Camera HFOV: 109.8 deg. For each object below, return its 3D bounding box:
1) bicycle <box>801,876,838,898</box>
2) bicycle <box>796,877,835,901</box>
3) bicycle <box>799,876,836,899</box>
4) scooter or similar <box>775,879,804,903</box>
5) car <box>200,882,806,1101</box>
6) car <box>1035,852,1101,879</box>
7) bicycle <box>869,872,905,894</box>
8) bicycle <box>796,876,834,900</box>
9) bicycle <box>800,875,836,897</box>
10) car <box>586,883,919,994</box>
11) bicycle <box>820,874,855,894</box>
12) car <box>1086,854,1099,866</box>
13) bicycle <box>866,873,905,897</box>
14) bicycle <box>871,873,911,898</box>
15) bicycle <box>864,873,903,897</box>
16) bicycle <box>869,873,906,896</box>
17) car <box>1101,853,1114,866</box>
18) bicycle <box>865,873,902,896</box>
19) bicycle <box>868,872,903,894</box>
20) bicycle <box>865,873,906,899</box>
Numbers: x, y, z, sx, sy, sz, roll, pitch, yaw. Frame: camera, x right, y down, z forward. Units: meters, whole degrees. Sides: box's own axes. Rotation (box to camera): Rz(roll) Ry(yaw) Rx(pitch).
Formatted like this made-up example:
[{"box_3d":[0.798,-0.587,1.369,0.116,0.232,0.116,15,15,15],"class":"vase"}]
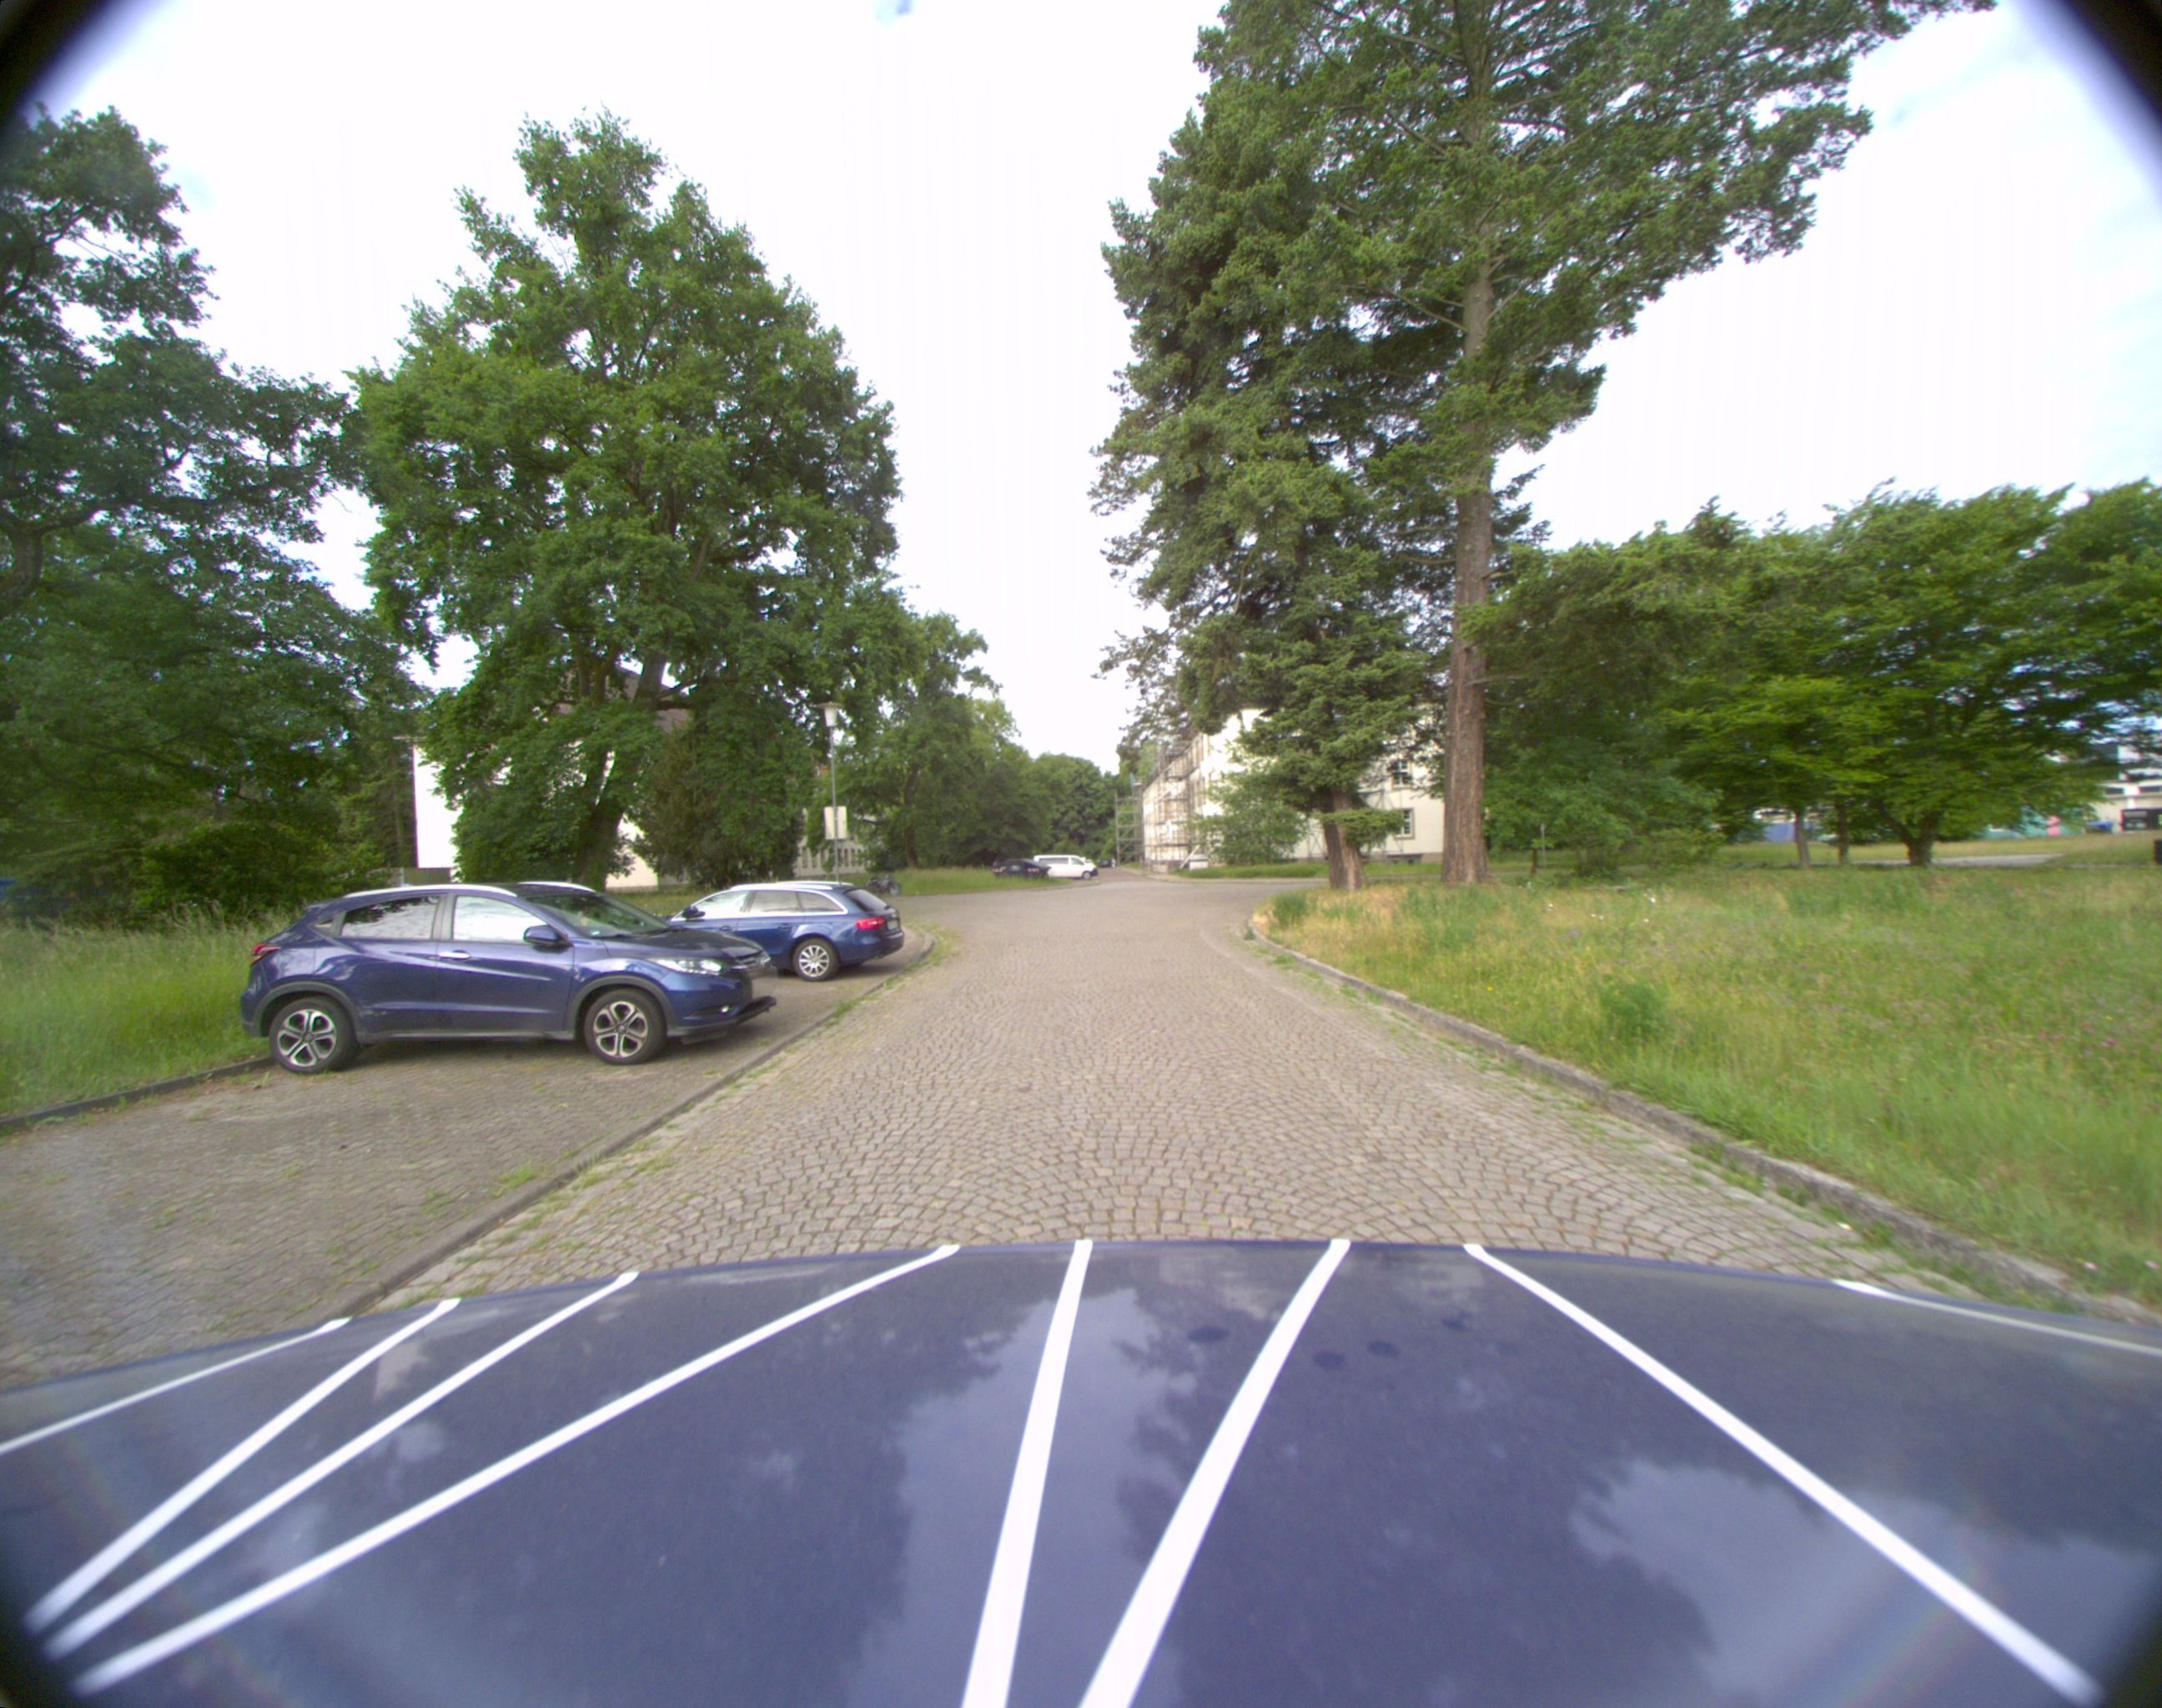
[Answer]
[{"box_3d":[-14.700,1.851,42.764,1.862,1.163,0.487,-3,0,-29],"class":"bicycle"},{"box_3d":[-14.230,1.849,40.718,1.862,1.163,0.487,-3,0,-26],"class":"bicycle"},{"box_3d":[-14.557,1.843,41.997,1.861,1.163,0.487,-3,0,-21],"class":"bicycle"},{"box_3d":[-15.320,1.924,39.938,1.308,1.163,0.413,-4,1,-1],"class":"scooter or similar"},{"box_3d":[-5.109,1.169,7.243,4.256,1.613,1.886,-2,0,-1],"class":"car"},{"box_3d":[-1.023,0.890,60.786,5.149,2.002,2.000,-2,0,0],"class":"car"},{"box_3d":[-11.419,1.705,44.820,1.941,1.163,0.487,-4,1,-22],"class":"bicycle"},{"box_3d":[-14.431,1.836,41.286,1.862,1.163,0.487,-3,0,-26],"class":"bicycle"},{"box_3d":[-15.287,1.849,44.156,1.862,1.163,0.487,-3,0,-29],"class":"bicycle"},{"box_3d":[-4.985,1.272,11.985,4.367,1.430,1.927,-2,0,2],"class":"car"},{"box_3d":[-14.506,1.794,45.286,1.860,1.163,0.488,-1,0,-10],"class":"bicycle"},{"box_3d":[1.921,0.990,126.963,1.962,2.002,4.260,-2,0,-1],"class":"car"},{"box_3d":[-10.944,1.724,42.573,1.942,1.163,0.487,-4,1,-25],"class":"bicycle"},{"box_3d":[-10.257,1.681,41.041,1.942,1.163,0.487,-4,1,-27],"class":"bicycle"},{"box_3d":[-10.884,1.721,41.960,1.942,1.163,0.487,-4,1,-25],"class":"bicycle"},{"box_3d":[-11.041,1.728,43.353,1.941,1.163,0.487,-4,1,-22],"class":"bicycle"},{"box_3d":[4.456,0.882,127.204,1.962,2.002,4.260,-2,0,-1],"class":"car"},{"box_3d":[-11.486,1.756,44.208,1.941,1.163,0.487,-4,1,-22],"class":"bicycle"},{"box_3d":[-11.853,1.777,46.059,1.940,1.163,0.537,-4,1,-16],"class":"bicycle"},{"box_3d":[-10.370,1.691,40.364,1.942,1.163,0.487,-4,1,-27],"class":"bicycle"}]
